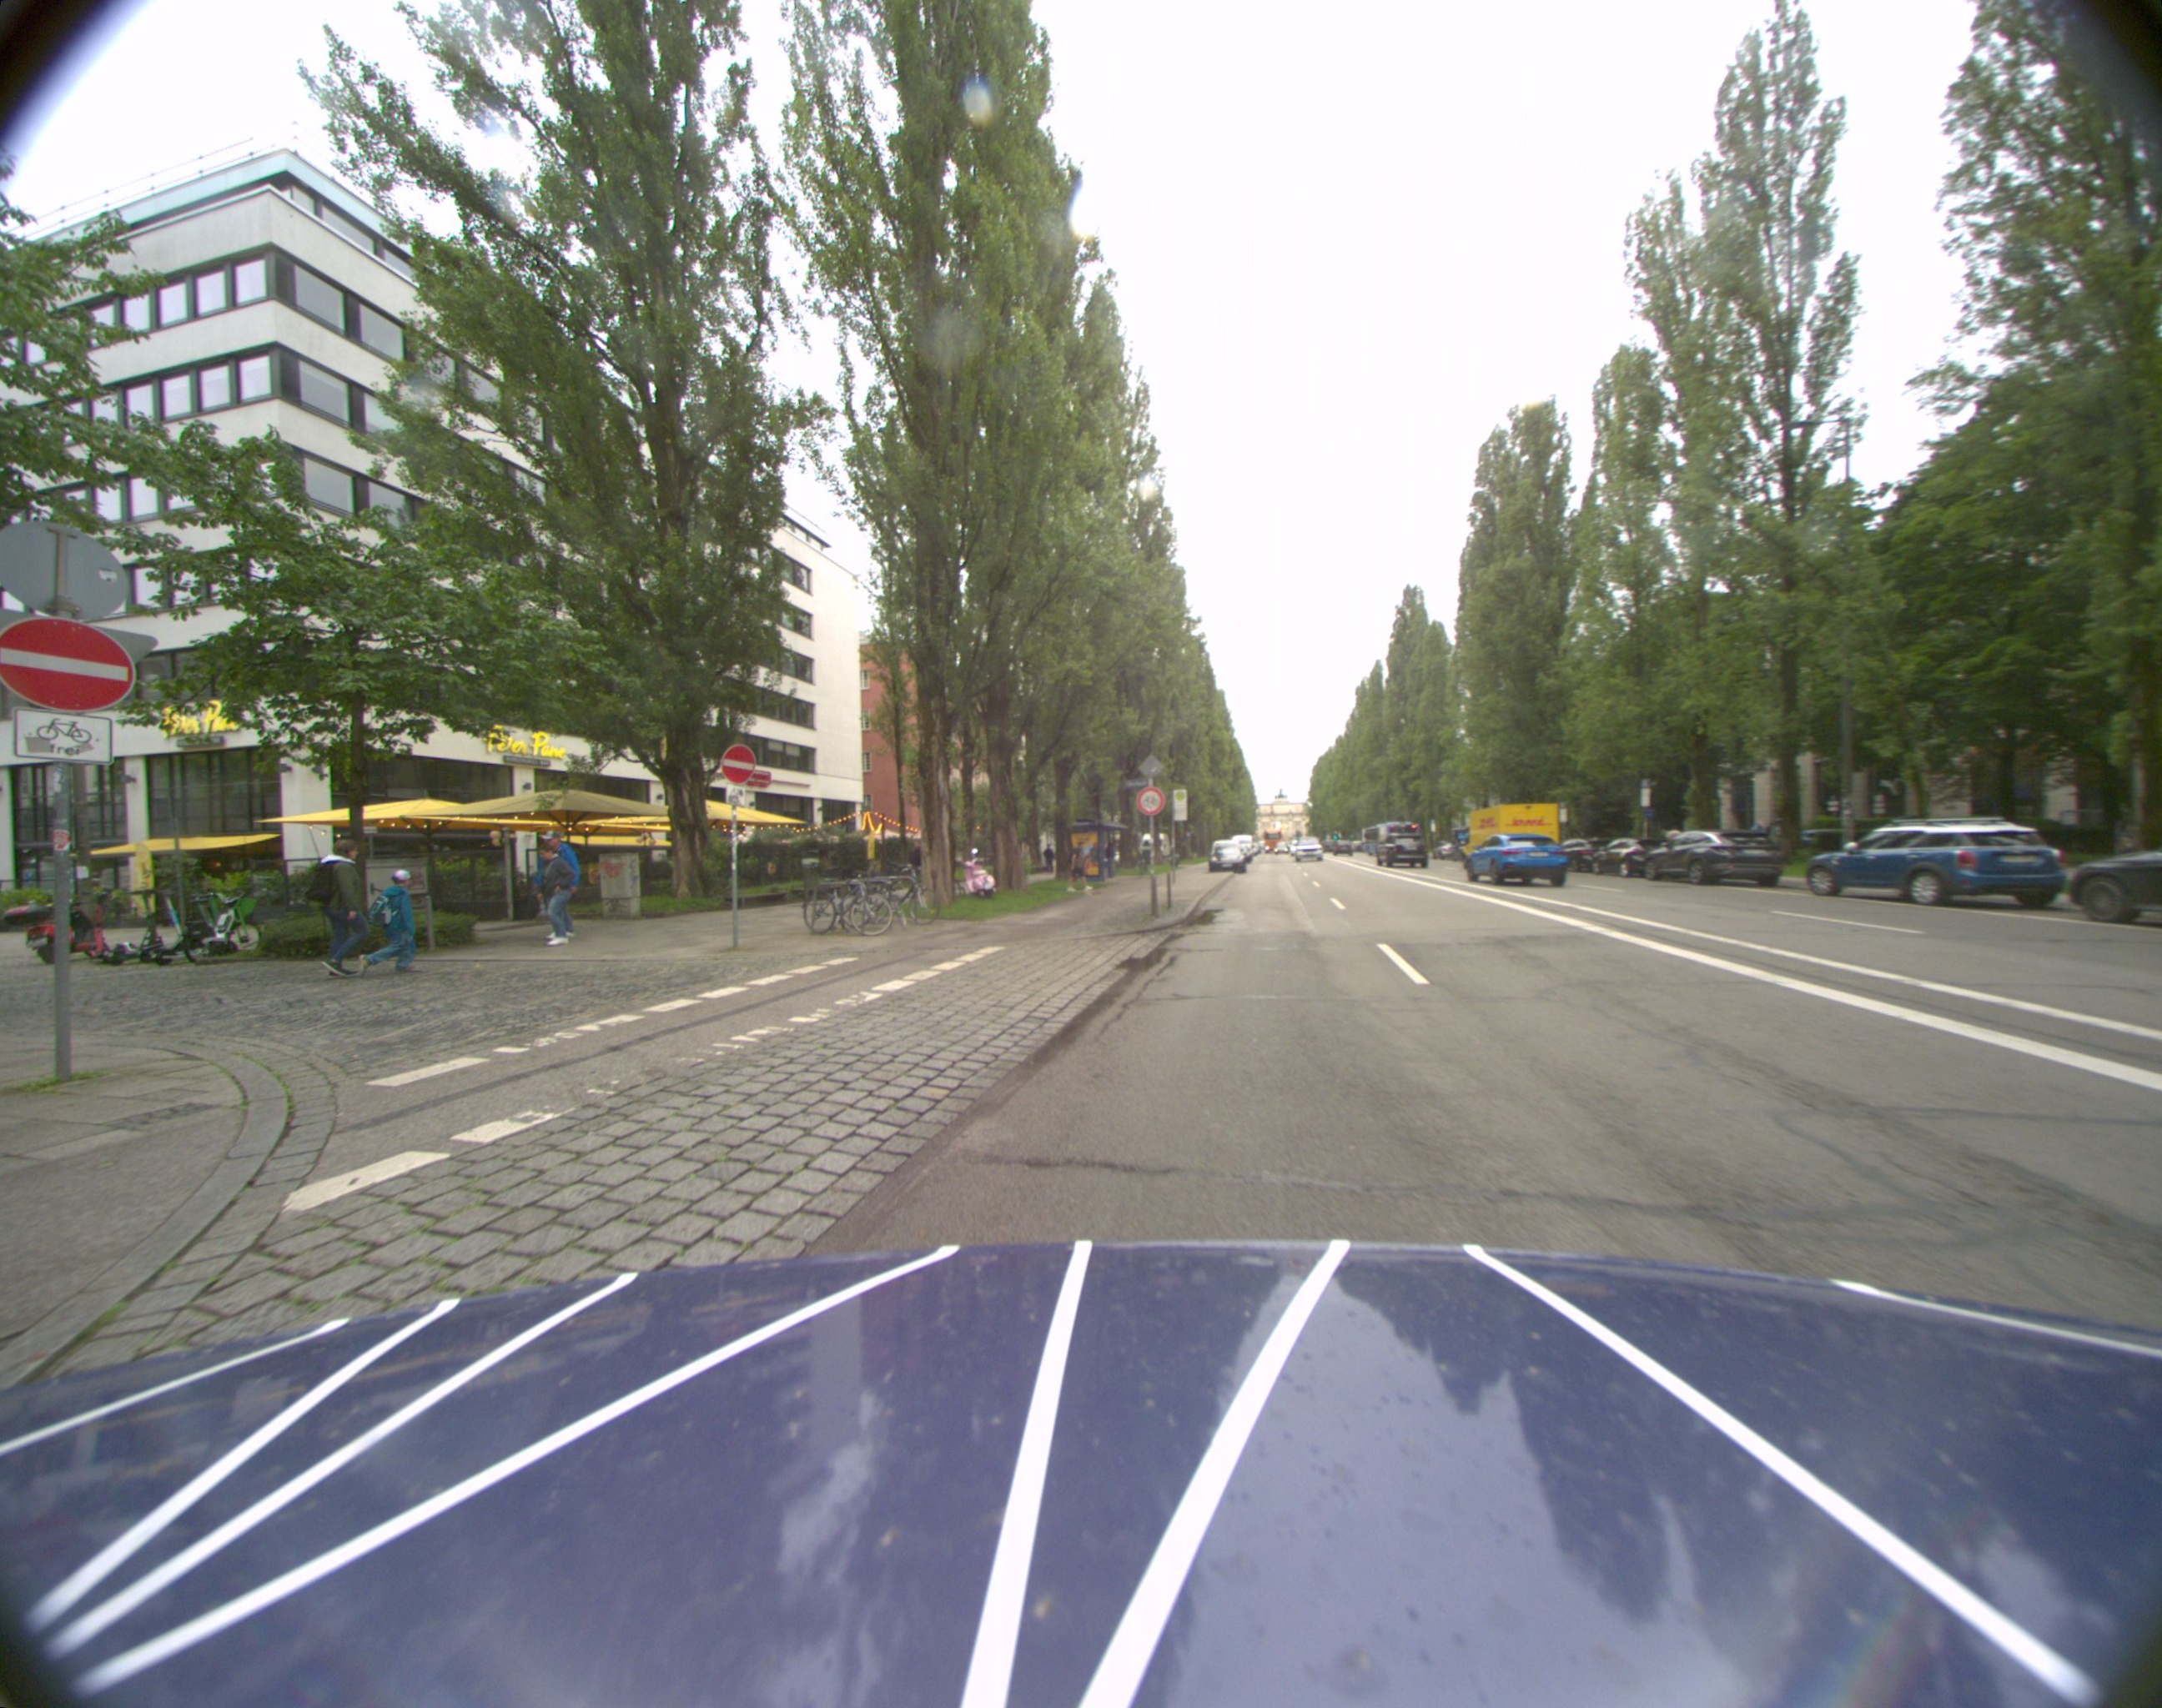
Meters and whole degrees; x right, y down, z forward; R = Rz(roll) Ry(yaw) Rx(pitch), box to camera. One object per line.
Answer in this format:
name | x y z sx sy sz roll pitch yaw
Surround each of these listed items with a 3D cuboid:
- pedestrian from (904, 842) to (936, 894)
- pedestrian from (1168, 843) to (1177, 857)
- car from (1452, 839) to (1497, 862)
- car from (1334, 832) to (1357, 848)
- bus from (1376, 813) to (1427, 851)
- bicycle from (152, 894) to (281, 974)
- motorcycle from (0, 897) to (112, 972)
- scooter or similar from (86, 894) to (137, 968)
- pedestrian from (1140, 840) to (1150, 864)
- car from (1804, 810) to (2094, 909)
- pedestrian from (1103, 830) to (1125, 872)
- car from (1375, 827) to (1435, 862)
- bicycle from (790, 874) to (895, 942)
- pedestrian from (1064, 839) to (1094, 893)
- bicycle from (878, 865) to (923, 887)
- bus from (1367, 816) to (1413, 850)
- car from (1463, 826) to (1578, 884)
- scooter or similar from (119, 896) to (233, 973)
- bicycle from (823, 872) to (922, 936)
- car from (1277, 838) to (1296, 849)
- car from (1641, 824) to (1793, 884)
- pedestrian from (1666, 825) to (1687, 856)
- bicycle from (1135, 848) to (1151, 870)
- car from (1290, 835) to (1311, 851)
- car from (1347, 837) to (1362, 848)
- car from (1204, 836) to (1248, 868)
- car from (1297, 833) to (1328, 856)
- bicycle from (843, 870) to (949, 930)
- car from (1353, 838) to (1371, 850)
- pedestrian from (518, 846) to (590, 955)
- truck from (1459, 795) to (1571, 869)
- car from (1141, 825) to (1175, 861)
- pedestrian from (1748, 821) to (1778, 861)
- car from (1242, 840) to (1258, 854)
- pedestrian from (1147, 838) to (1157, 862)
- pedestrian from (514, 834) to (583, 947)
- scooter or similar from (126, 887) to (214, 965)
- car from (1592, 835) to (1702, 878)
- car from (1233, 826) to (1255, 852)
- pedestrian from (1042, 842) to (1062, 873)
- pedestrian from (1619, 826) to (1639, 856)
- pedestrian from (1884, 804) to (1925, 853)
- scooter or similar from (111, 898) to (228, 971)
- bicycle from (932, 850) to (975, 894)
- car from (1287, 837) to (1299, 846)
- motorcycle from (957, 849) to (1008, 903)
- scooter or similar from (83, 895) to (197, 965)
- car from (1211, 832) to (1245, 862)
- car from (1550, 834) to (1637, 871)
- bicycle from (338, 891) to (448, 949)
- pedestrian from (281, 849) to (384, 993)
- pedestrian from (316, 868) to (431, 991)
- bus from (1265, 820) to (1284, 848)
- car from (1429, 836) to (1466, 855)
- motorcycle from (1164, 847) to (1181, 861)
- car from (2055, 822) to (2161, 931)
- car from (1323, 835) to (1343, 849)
pedestrian | -5.302 0.456 25.063 0.734 1.683 0.647 -1 1 18
pedestrian | 10.724 -0.459 89.358 0.888 1.683 0.769 -1 1 18
car | 25.875 -0.240 50.100 1.790 1.404 3.885 -1 1 14
car | 25.915 -1.376 74.568 1.845 1.518 3.756 -1 1 15
bus | 27.891 -1.866 66.429 2.921 3.034 8.527 -2 0 15
bicycle | -14.482 1.293 12.796 0.554 1.136 1.760 -2 1 -17
motorcycle | -18.539 1.411 13.680 0.772 1.188 1.986 -1 -1 -35
scooter or similar | -17.693 1.379 13.885 0.328 1.265 1.354 -3 0 -43
pedestrian | 4.436 -0.142 52.582 0.516 1.683 0.487 -1 1 18
car | 17.203 0.067 15.432 1.790 1.722 4.082 0 1 13
pedestrian | 1.513 -0.132 34.394 0.889 1.833 0.768 -2 1 6
car | 17.261 -0.532 40.787 1.996 1.739 5.068 1 1 12
bicycle | -4.050 0.912 12.879 1.699 1.087 0.492 -1 1 19
pedestrian | -0.068 0.384 24.986 0.751 1.763 0.706 -1 1 18
bicycle | -7.911 0.964 33.359 1.799 0.907 0.621 -2 1 11
bus | 29.971 -1.958 74.061 2.921 3.034 9.807 -2 0 15
car | 13.211 -0.009 23.166 1.868 1.570 4.426 0 1 14
scooter or similar | -15.270 1.329 12.873 0.369 1.137 1.429 -2 1 -10
bicycle | -3.751 0.897 13.675 1.699 1.087 0.492 -1 1 19
car | 26.069 -1.318 96.474 1.647 1.389 4.001 -2 1 4
car | 18.717 -0.026 22.616 1.790 1.591 4.241 -2 1 14
pedestrian | 33.448 -0.768 42.695 0.708 1.704 0.732 -1 1 15
bicycle | 3.070 0.229 37.469 0.553 1.016 1.764 -2 1 11
car | 23.713 -1.206 82.218 2.008 1.571 4.004 -1 1 15
car | 43.489 -1.887 120.872 1.996 1.712 4.352 0 1 15
car | 7.884 -0.132 41.122 2.008 1.571 4.004 -1 1 15
car | 17.596 -0.760 57.918 2.009 1.571 4.004 -3 1 15
bicycle | -3.574 0.883 14.643 1.980 1.087 0.492 -1 1 19
car | 41.021 -1.490 110.831 1.996 1.712 4.820 0 1 15
pedestrian | -8.660 0.739 12.519 0.703 1.718 0.644 -2 1 -10
truck | 19.207 -0.942 34.088 2.596 2.891 7.087 -1 1 15
car | 6.780 -0.950 66.418 2.196 3.000 6.005 -2 1 12
pedestrian | 29.602 -0.563 32.996 0.708 1.704 0.732 -1 1 15
car | 22.016 -0.888 99.057 2.009 1.747 4.003 -1 1 12
pedestrian | 4.892 -0.272 52.414 0.516 1.683 0.487 -1 1 18
pedestrian | -9.297 0.617 13.289 0.703 1.897 0.644 -2 1 -10
scooter or similar | -16.698 1.290 13.962 0.328 1.266 1.249 -3 3 -17
car | 20.026 0.053 27.091 1.790 1.404 3.885 -2 1 14
car | 17.122 -1.579 79.458 2.009 2.617 6.005 -1 1 14
pedestrian | -1.599 0.169 42.087 0.888 1.683 0.769 -1 1 18
pedestrian | 31.913 -0.779 44.248 0.708 1.704 0.732 -1 1 15
pedestrian | 29.539 -0.897 27.272 0.708 1.704 0.732 -1 1 15
scooter or similar | -15.987 1.387 13.365 0.327 1.137 1.252 -2 1 14
bicycle | -3.624 0.508 21.767 0.582 1.182 1.617 -1 1 14
car | 38.547 -2.273 138.468 2.008 1.571 4.004 -1 1 15
motorcycle | -2.632 0.545 20.097 0.630 1.190 1.985 -2 6 -30
scooter or similar | -17.314 1.390 14.004 1.252 1.173 0.389 -2 1 -19
car | 9.505 -0.414 48.874 2.009 1.746 4.004 -2 -1 12
car | 21.419 -0.086 31.935 1.790 1.404 3.885 -2 1 14
bicycle | -12.881 1.238 14.230 1.760 1.016 0.554 -2 1 12
pedestrian | -9.249 0.797 9.396 0.662 1.691 0.692 -1 1 29
pedestrian | -8.719 0.893 9.378 0.816 1.411 0.772 -1 1 29
bus | 30.616 -3.084 120.396 2.645 4.088 9.806 -2 0 14
car | 27.756 -0.653 57.652 1.790 1.404 3.885 -2 1 14
motorcycle | 6.342 -0.011 52.474 0.468 0.933 1.660 -2 1 -19
car | 15.875 0.307 9.724 1.790 1.520 4.519 -2 1 14
car | 31.372 -1.489 94.743 1.996 1.712 4.820 0 1 15
